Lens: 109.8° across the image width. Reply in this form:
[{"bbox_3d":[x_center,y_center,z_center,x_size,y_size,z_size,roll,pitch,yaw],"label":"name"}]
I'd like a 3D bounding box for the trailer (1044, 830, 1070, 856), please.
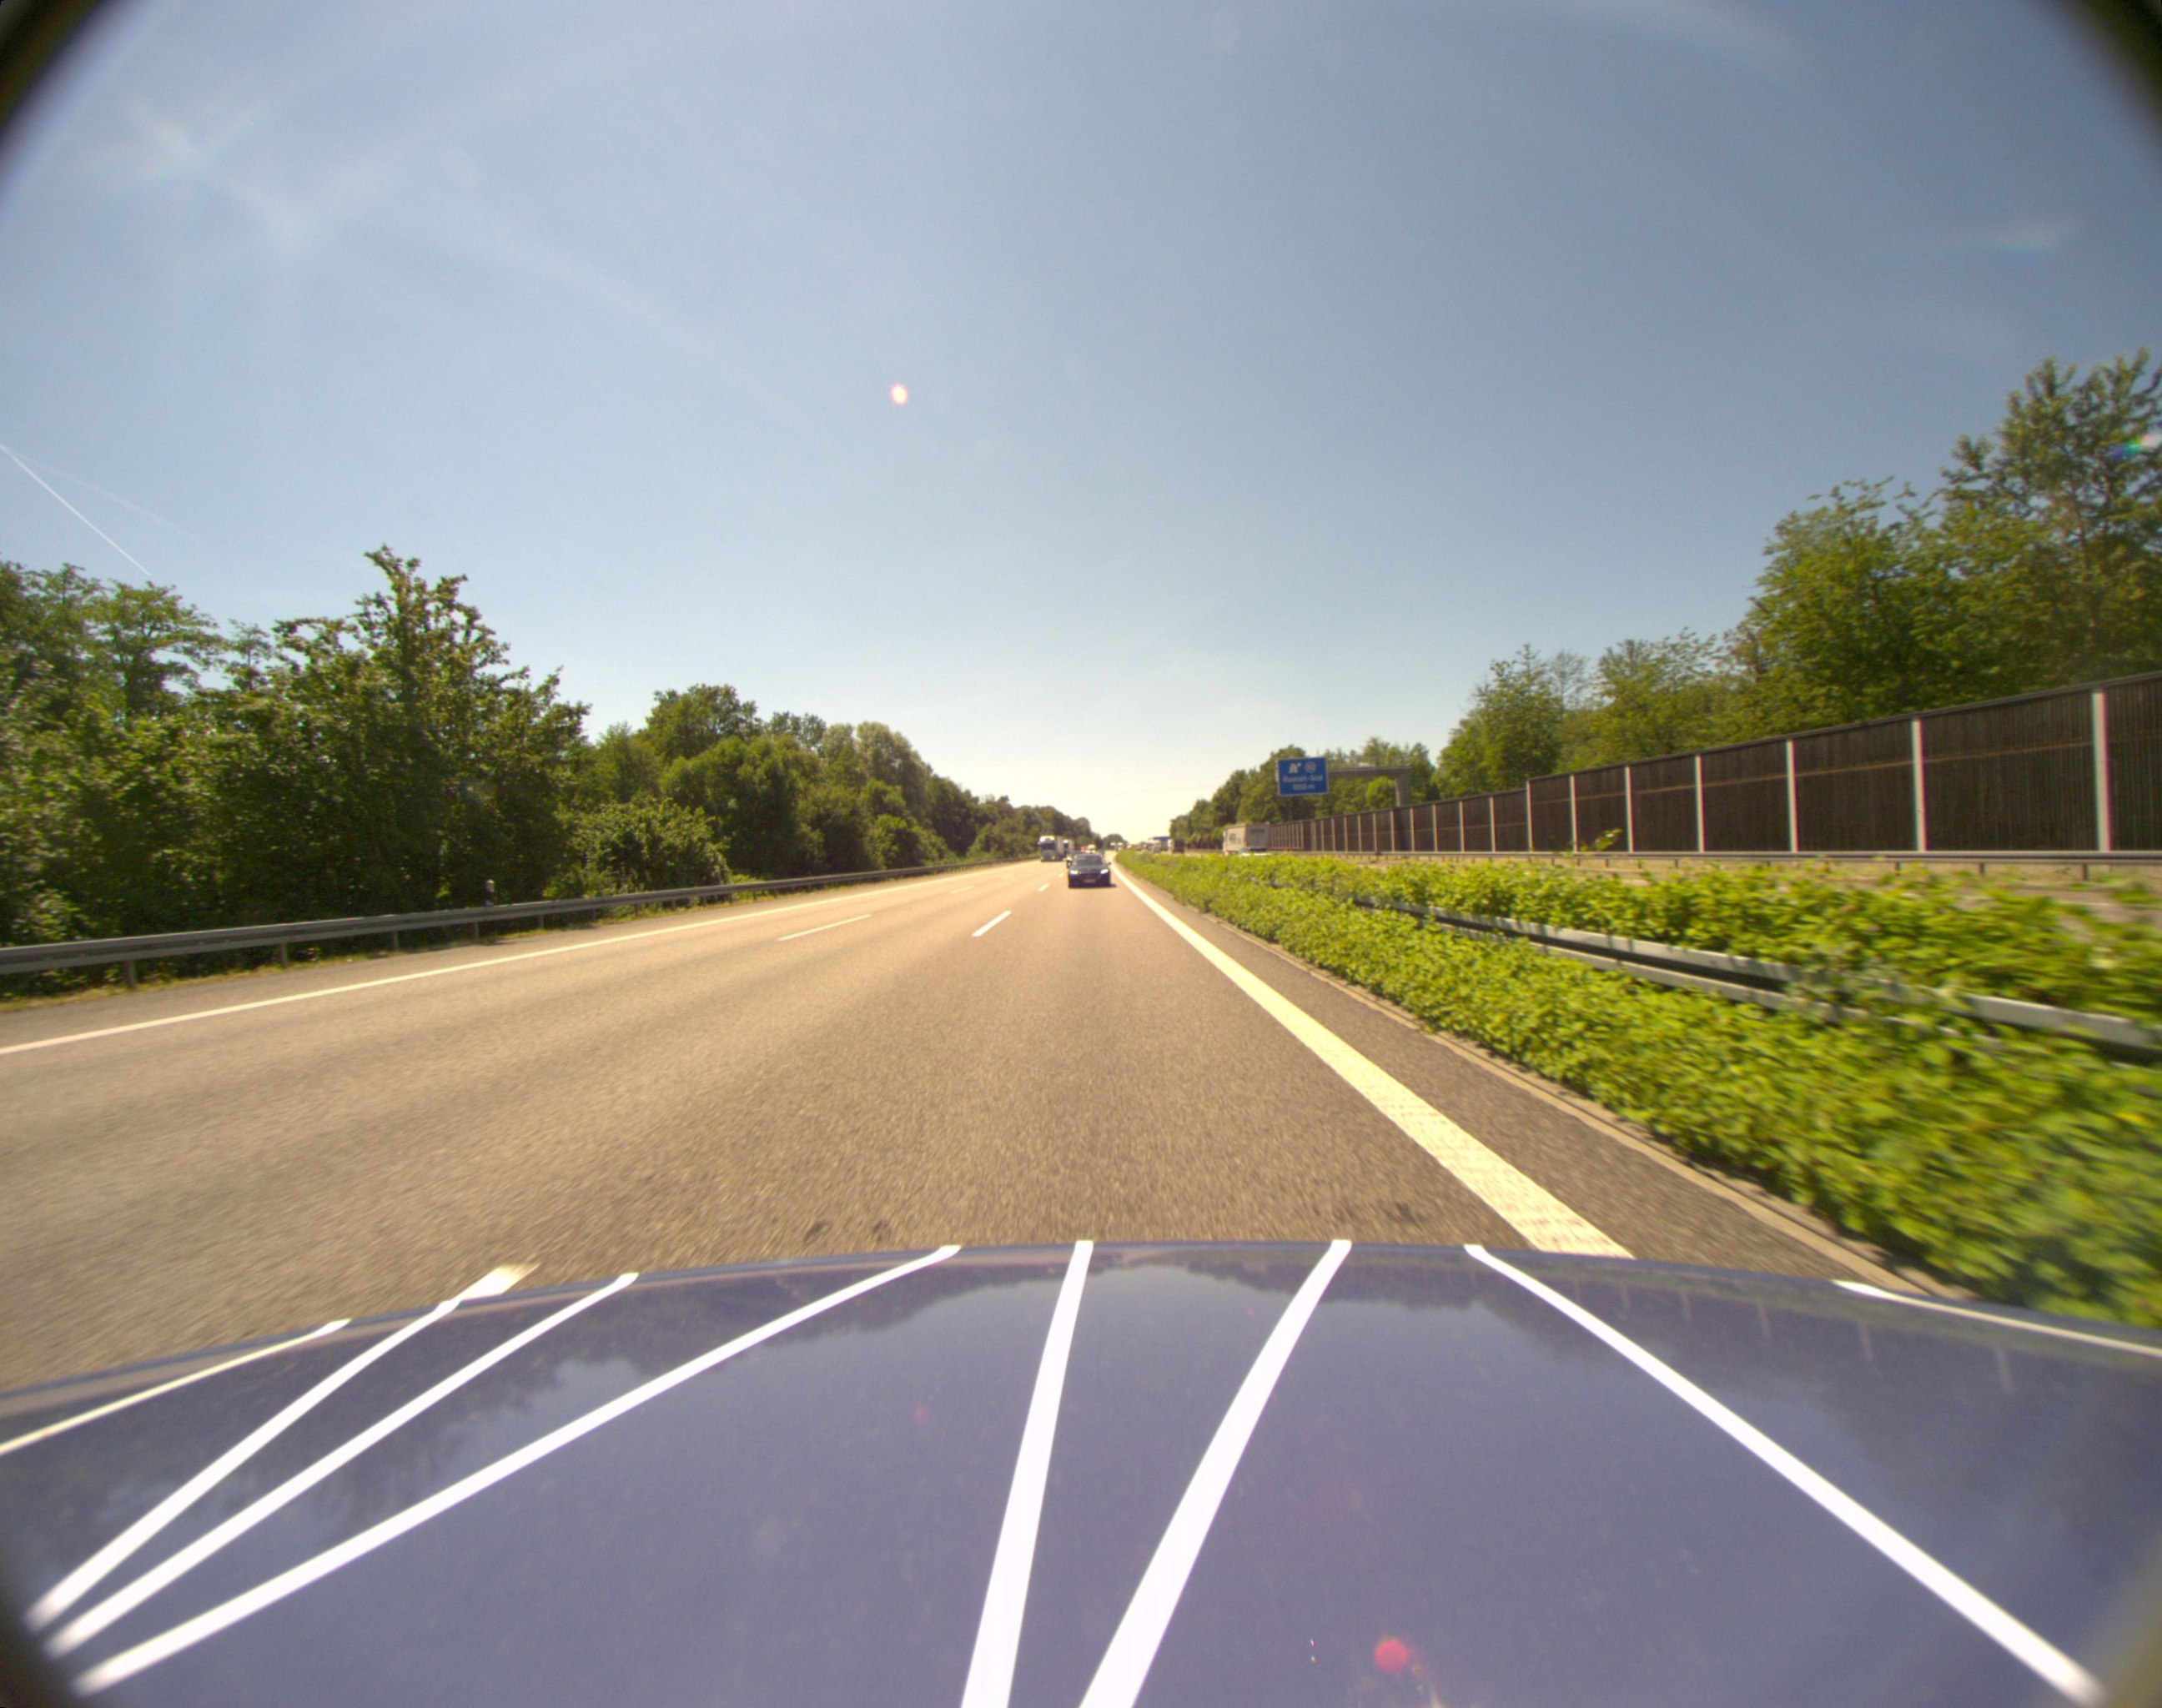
[{"bbox_3d":[-3.841,-1.765,126.632,2.746,3.952,13.657,-2,1,4],"label":"trailer"}]

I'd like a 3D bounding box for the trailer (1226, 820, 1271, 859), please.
[{"bbox_3d":[19.089,-1.608,87.449,2.490,4.111,13.653,-2,1,2],"label":"trailer"}]

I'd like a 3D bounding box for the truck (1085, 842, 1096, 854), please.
[{"bbox_3d":[2.682,-1.516,208.466,2.859,3.163,10.711,-1,0,1],"label":"truck"}]

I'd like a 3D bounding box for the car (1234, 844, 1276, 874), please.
[{"bbox_3d":[10.057,0.267,44.219,1.587,1.579,4.000,-2,0,2],"label":"car"}]

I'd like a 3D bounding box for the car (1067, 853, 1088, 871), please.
[{"bbox_3d":[-0.311,0.737,74.097,1.862,1.614,3.737,-2,0,1],"label":"car"}]

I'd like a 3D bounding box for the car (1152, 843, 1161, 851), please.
[{"bbox_3d":[19.082,-1.875,192.746,1.998,2.002,5.102,-2,1,3],"label":"car"}]

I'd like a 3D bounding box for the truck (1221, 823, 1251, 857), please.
[{"bbox_3d":[19.337,-1.677,94.858,2.526,4.042,6.371,-2,1,2],"label":"truck"}]

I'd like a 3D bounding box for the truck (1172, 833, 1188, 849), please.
[{"bbox_3d":[23.514,-3.089,181.113,2.877,3.584,9.952,-2,1,2],"label":"truck"}]

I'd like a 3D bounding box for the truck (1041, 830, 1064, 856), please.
[{"bbox_3d":[-4.403,-1.692,119.861,2.729,3.952,6.502,-2,1,4],"label":"truck"}]

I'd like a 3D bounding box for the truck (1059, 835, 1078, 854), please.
[{"bbox_3d":[-2.668,-2.034,164.703,3.049,3.947,14.455,-2,0,3],"label":"truck"}]

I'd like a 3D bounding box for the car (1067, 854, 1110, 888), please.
[{"bbox_3d":[0.417,0.720,34.756,1.800,1.390,4.833,-2,0,2],"label":"car"}]

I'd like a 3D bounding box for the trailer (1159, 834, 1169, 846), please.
[{"bbox_3d":[28.634,-4.863,262.418,2.735,3.887,13.762,-2,1,3],"label":"trailer"}]

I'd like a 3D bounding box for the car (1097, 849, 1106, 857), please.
[{"bbox_3d":[4.494,-0.271,165.562,1.879,1.630,4.001,-2,0,3],"label":"car"}]
